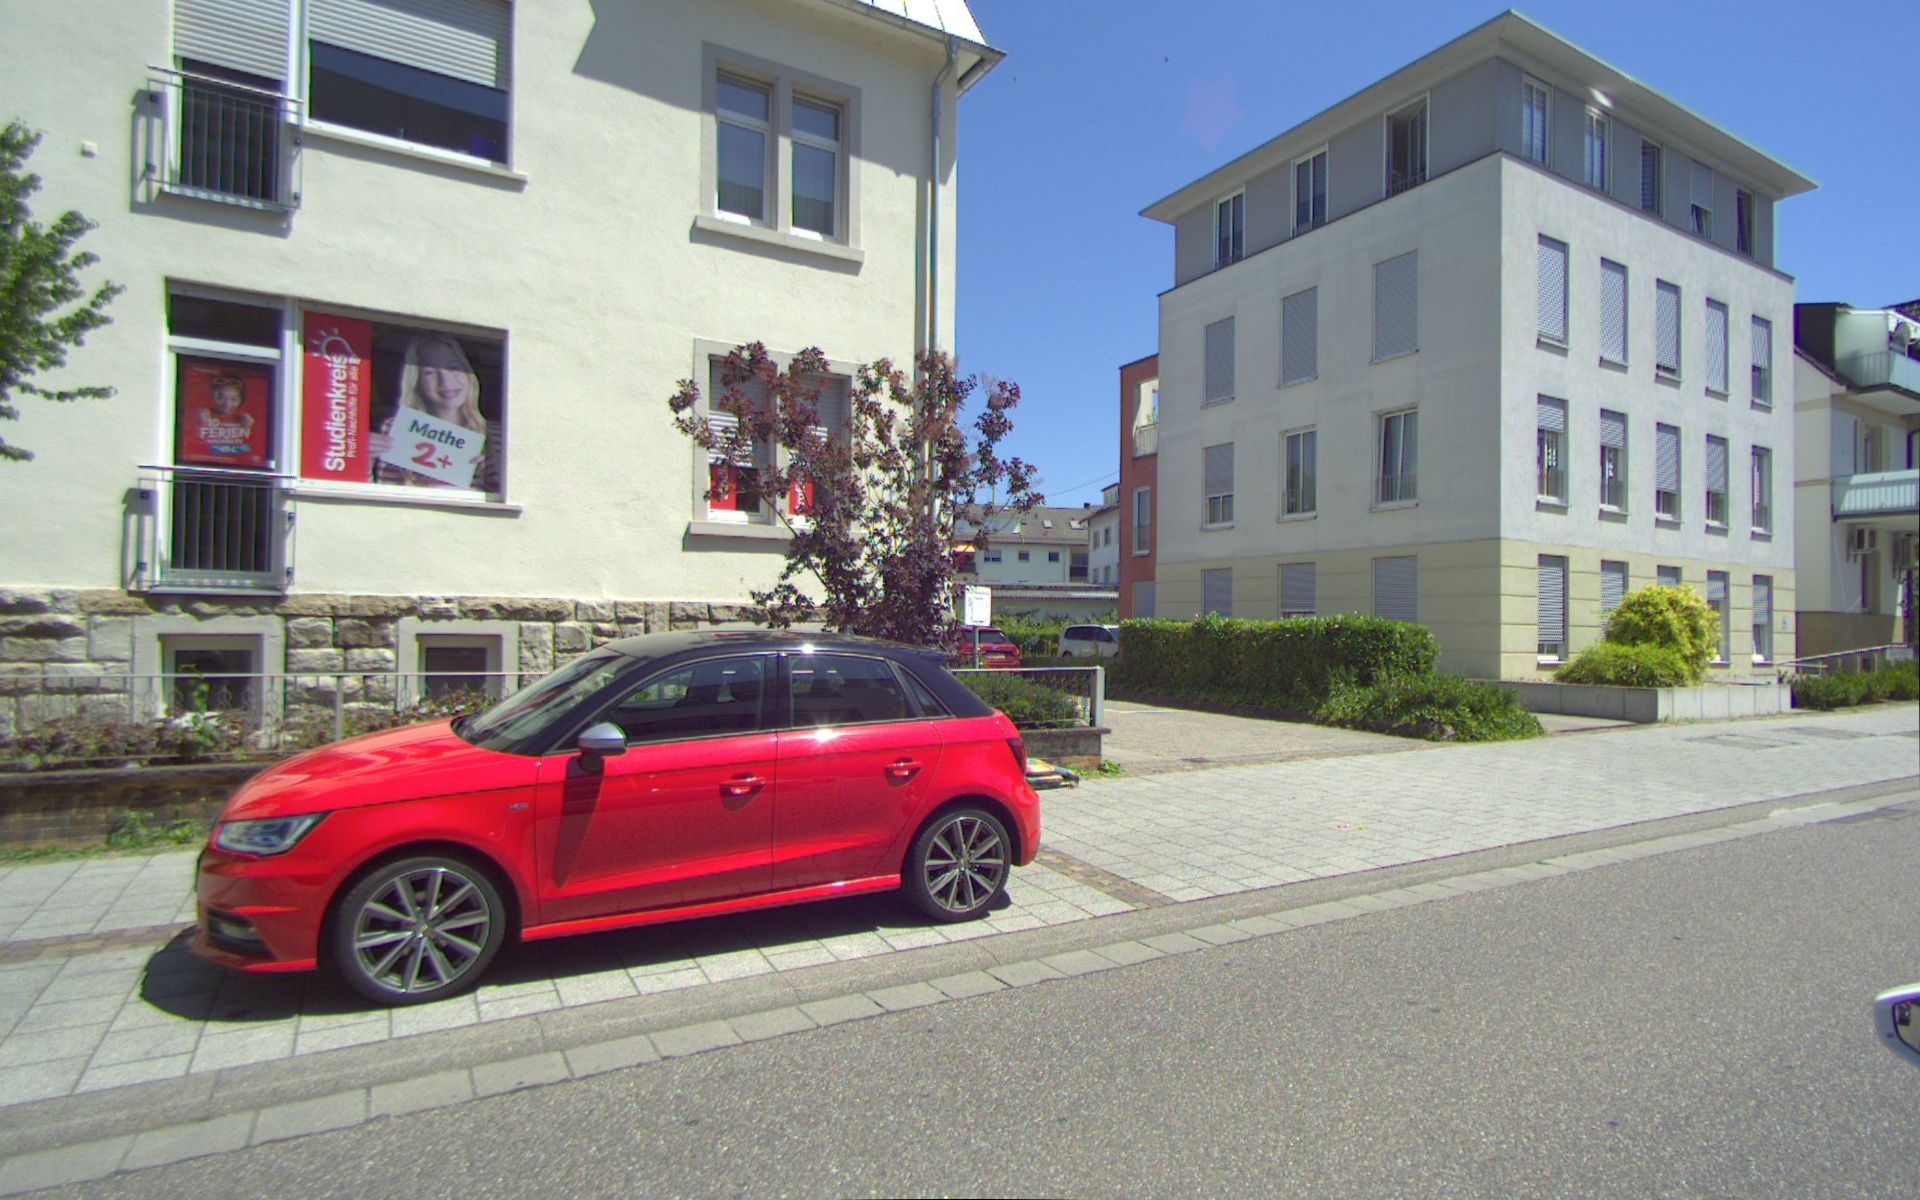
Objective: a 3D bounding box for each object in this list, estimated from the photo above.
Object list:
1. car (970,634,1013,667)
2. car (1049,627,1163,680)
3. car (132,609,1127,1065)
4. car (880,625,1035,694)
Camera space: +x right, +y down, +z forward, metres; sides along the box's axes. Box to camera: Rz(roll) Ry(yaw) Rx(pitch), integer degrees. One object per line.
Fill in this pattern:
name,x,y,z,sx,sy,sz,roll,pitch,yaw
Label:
car,1.525,2.386,47.940,1.960,1.494,4.189,0,-2,3
car,5.123,1.849,35.651,1.981,1.649,3.686,2,0,-36
car,-1.352,0.855,5.167,4.210,1.471,1.724,2,1,-30
car,-0.158,1.367,24.200,1.856,1.494,4.152,2,-2,-31
